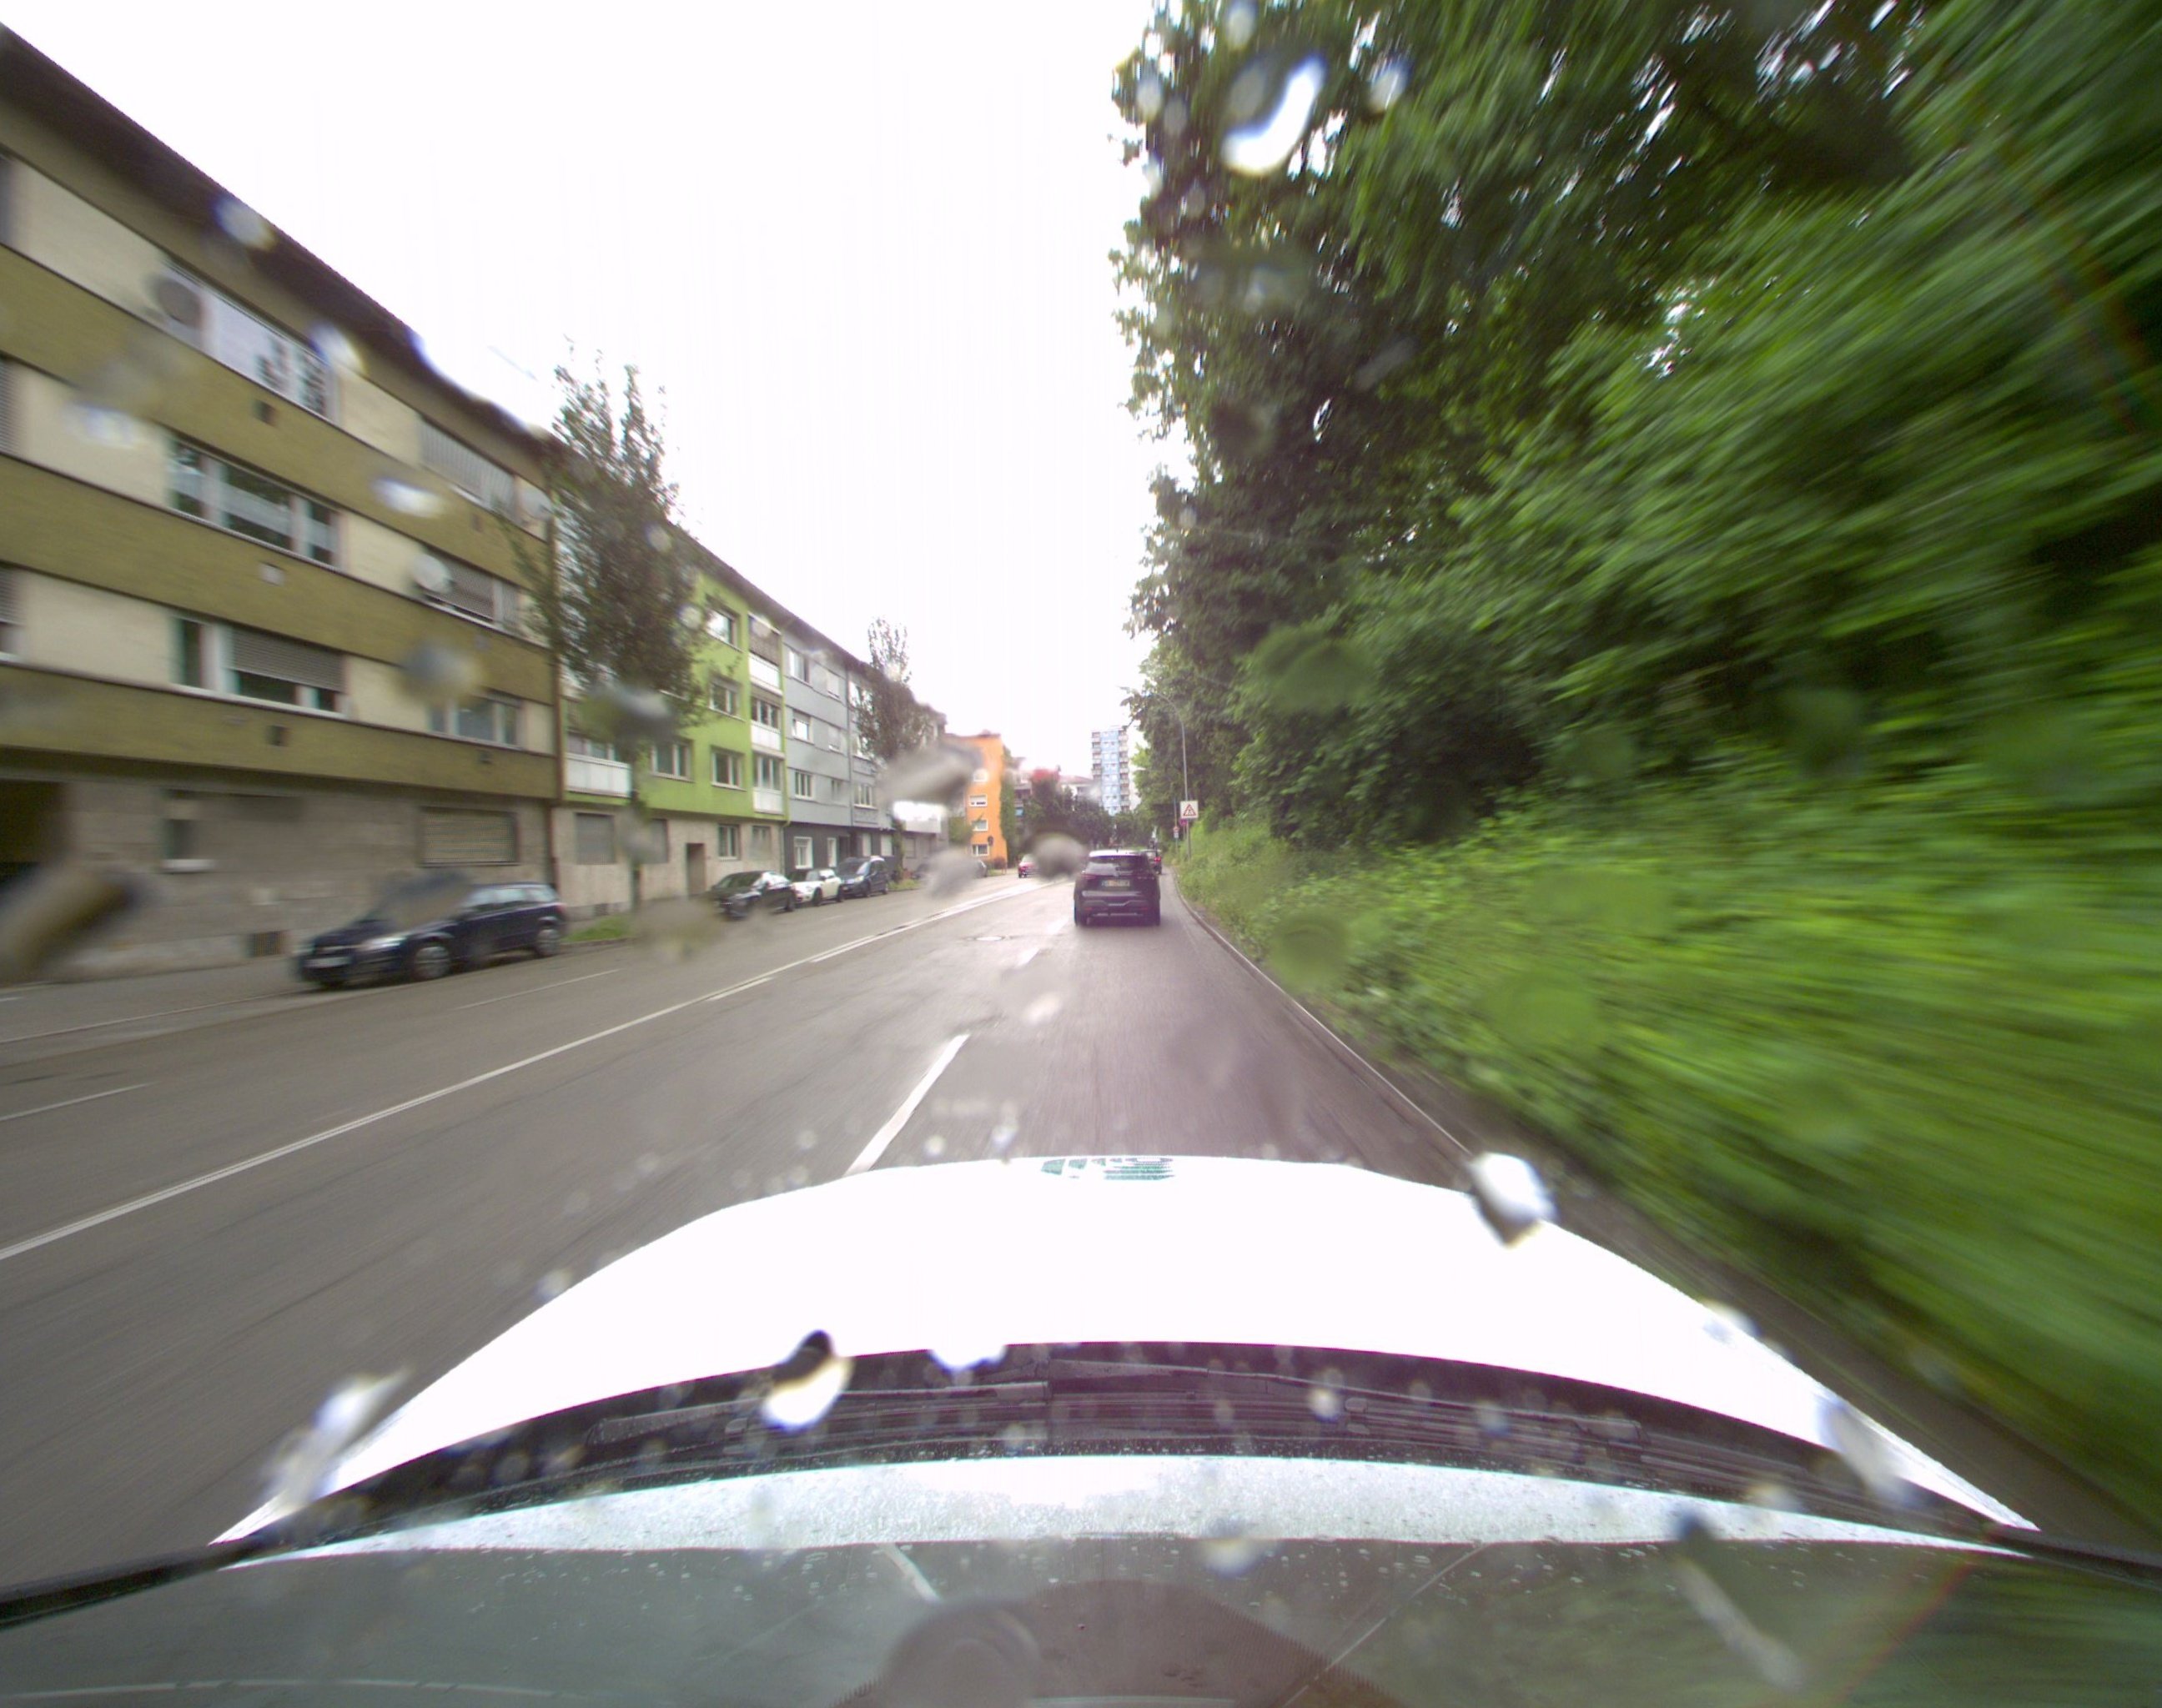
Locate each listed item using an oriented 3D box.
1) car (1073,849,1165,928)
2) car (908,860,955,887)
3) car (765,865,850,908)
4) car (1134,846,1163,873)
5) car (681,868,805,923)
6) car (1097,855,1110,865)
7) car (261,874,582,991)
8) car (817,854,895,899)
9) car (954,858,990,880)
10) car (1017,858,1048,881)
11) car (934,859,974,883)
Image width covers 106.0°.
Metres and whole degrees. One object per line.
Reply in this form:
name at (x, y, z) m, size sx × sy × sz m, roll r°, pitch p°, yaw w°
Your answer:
car at (0.909, 0.698, 18.534) m, size 1.836 × 1.582 × 4.004 m, roll -1°, pitch 0°, yaw 4°
car at (-9.096, 1.155, 49.888) m, size 1.681 × 1.358 × 4.583 m, roll -5°, pitch 0°, yaw 3°
car at (-10.354, 1.204, 31.167) m, size 1.673 × 1.376 × 4.002 m, roll -4°, pitch 0°, yaw 2°
car at (4.556, 0.365, 54.907) m, size 1.878 × 1.711 × 4.005 m, roll -1°, pitch 0°, yaw 4°
car at (-10.433, 1.232, 25.587) m, size 1.811 × 1.372 × 4.680 m, roll -4°, pitch 0°, yaw 0°
car at (3.546, 0.933, 129.398) m, size 1.780 × 1.504 × 4.653 m, roll -3°, pitch 0°, yaw 3°
car at (-10.987, 1.195, 14.108) m, size 1.712 × 1.488 × 4.516 m, roll -4°, pitch 0°, yaw 1°
car at (-10.040, 0.967, 36.746) m, size 1.882 × 1.766 × 4.605 m, roll -3°, pitch -1°, yaw 4°
car at (-8.164, 1.104, 61.308) m, size 1.705 × 1.425 × 4.327 m, roll -4°, pitch 0°, yaw 4°
car at (-3.281, 1.038, 55.453) m, size 1.700 × 1.478 × 3.682 m, roll -3°, pitch 0°, yaw 2°
car at (-8.594, 1.138, 55.607) m, size 1.673 × 1.449 × 4.281 m, roll -5°, pitch 0°, yaw 4°
